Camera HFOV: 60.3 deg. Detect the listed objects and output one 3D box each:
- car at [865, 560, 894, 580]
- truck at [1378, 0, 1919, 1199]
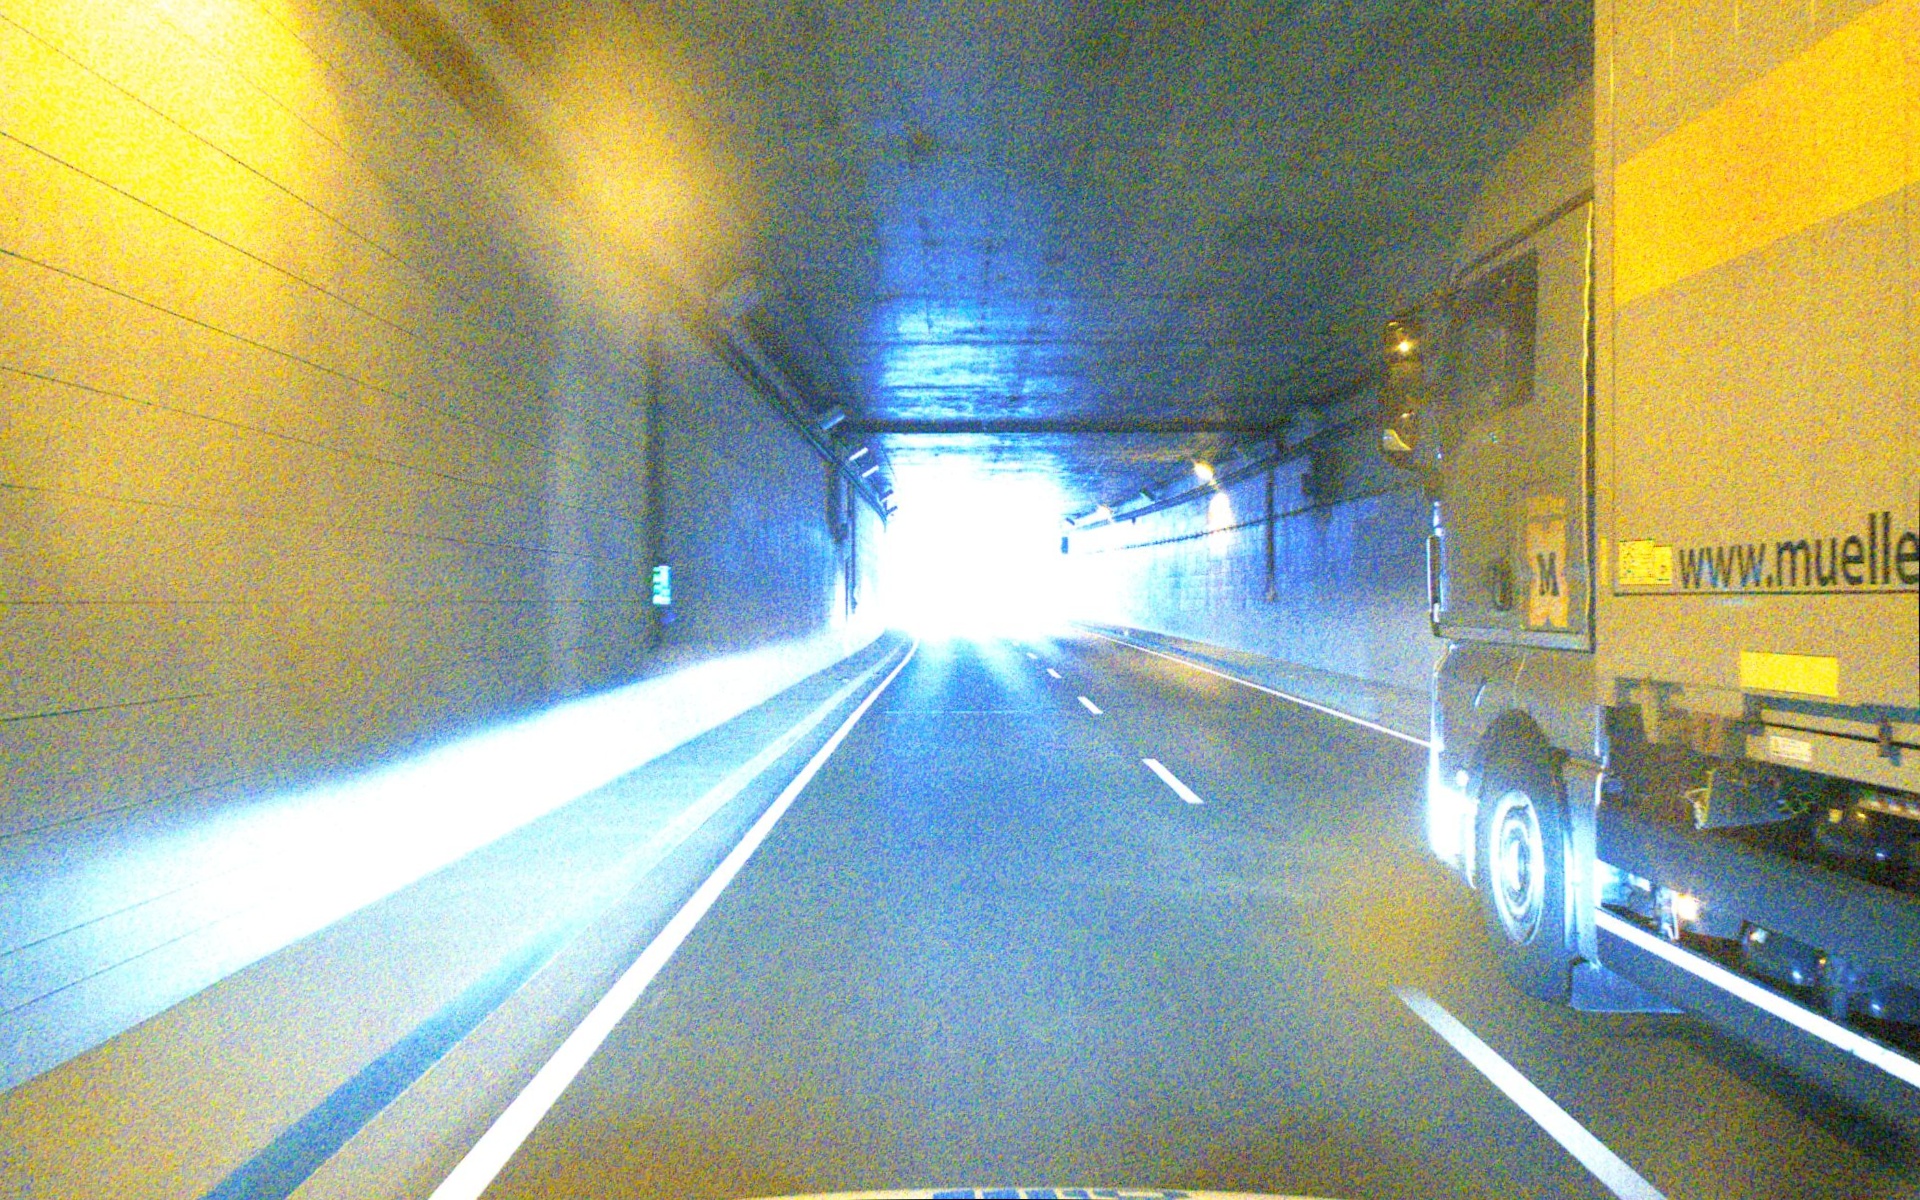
[{"bbox_3d":[-7.574,-2.831,155.810,1.839,1.763,3.982,0,0,-16],"label":"car"},{"bbox_3d":[3.445,-0.498,3.005,2.830,3.982,9.908,0,0,0],"label":"truck"}]
